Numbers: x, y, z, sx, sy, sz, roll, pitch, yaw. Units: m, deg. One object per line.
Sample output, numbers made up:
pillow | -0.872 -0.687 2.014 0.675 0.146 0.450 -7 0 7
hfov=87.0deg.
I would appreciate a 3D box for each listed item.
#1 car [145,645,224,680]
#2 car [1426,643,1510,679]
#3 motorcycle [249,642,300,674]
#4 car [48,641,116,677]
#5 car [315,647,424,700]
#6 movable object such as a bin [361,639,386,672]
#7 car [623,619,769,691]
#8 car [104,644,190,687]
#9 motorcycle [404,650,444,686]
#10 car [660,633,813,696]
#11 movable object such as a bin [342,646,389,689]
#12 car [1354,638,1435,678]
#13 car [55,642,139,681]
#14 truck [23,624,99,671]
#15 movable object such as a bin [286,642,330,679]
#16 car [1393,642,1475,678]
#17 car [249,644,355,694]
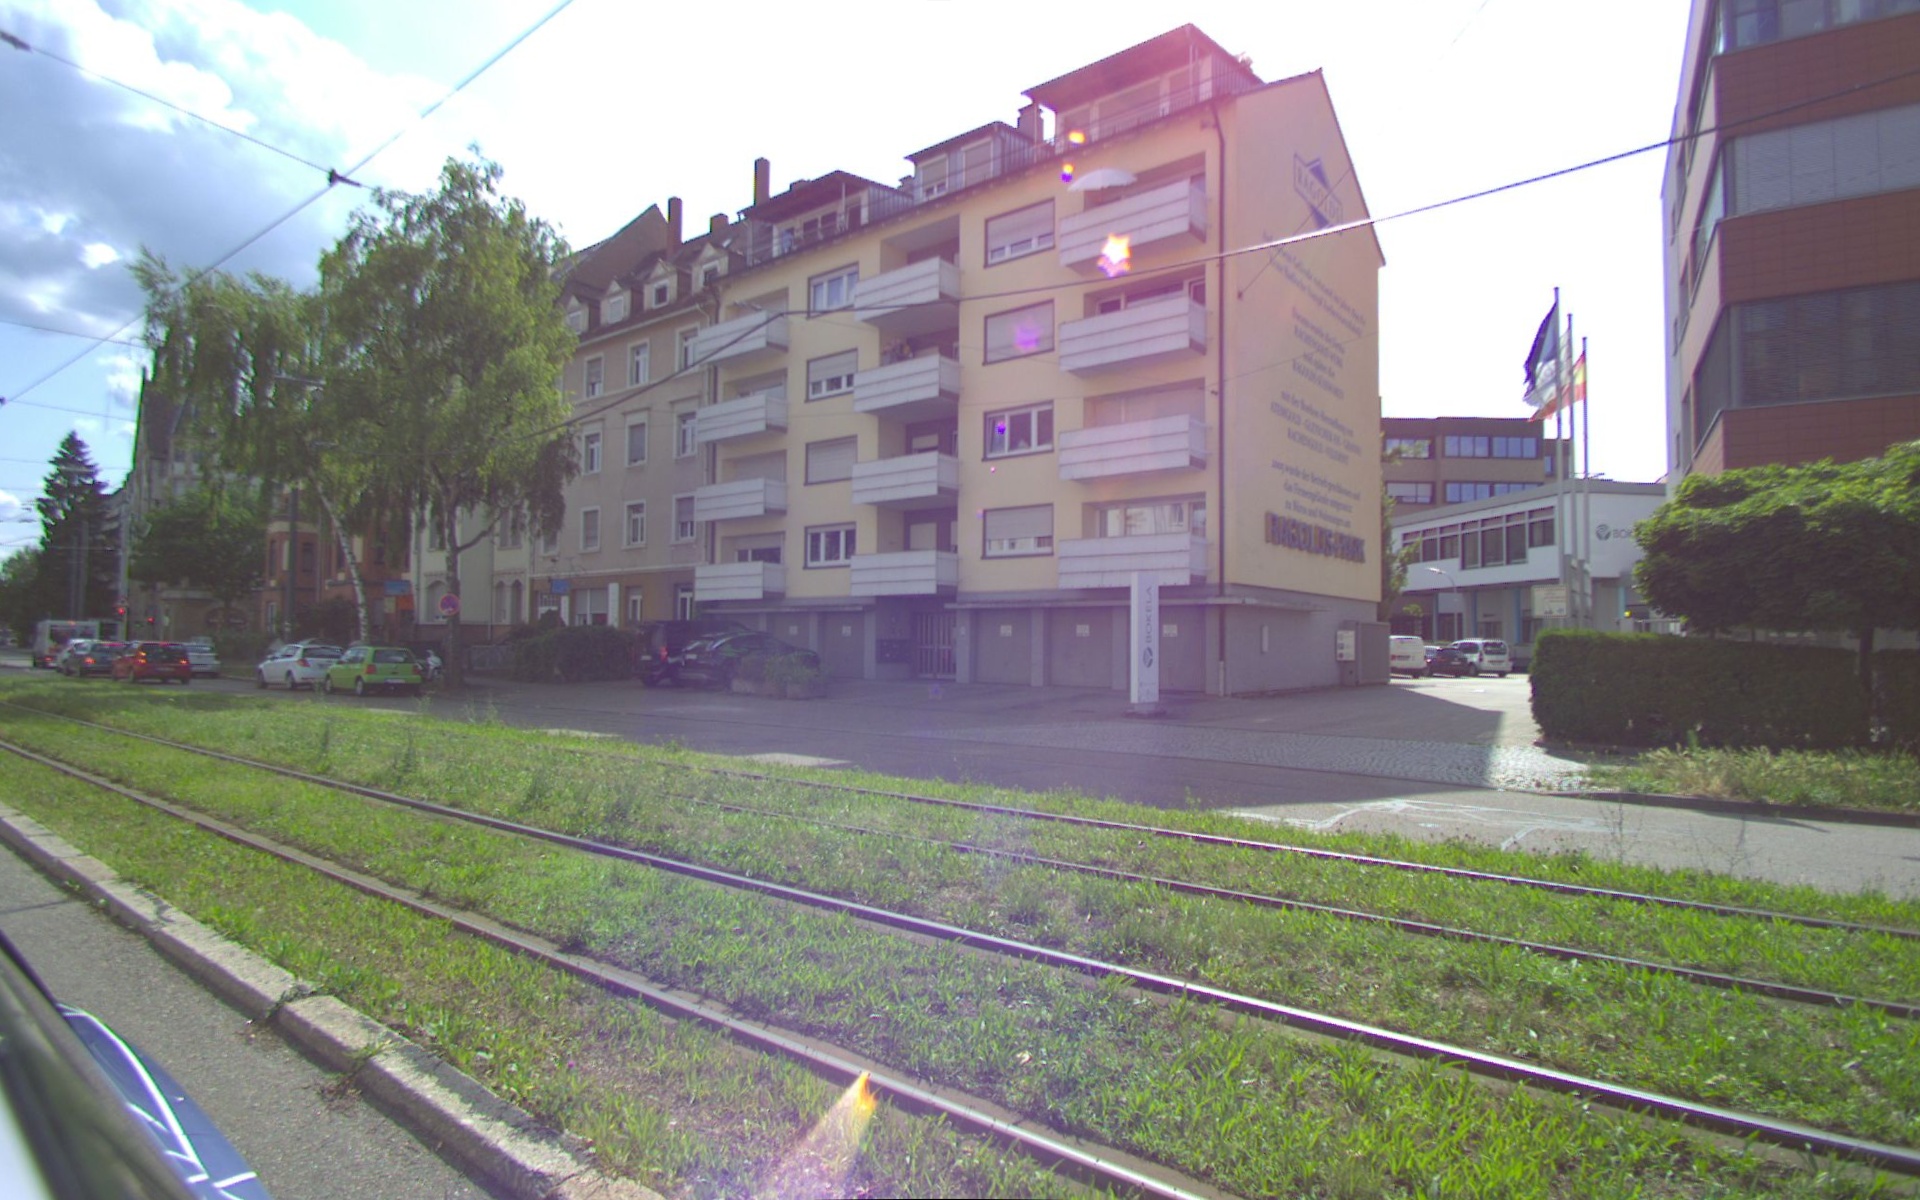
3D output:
car | -31.644 2.525 41.258 3.992 1.366 1.737 -2 -4 41
car | 25.514 3.042 50.980 1.743 1.708 4.007 1 -3 -8
motorcycle | -27.956 2.348 41.263 2.288 1.252 0.893 -2 -3 33
car | -37.885 2.535 43.628 4.134 1.425 1.735 -2 -5 43
car | -17.343 2.117 29.677 3.611 1.443 1.578 -2 -4 40
movable object such as a bin | -25.092 2.378 43.267 0.698 1.372 0.667 -2 -3 36
car | -8.113 1.647 31.287 1.936 2.029 3.944 -2 -2 42
car | -27.830 2.221 34.611 3.689 1.397 1.563 -2 -4 40
motorcycle | -17.184 2.166 32.427 1.630 1.050 0.494 0 1 39
car | -6.394 1.805 29.251 1.971 1.614 3.948 -2 -2 39
movable object such as a bin | -20.772 2.341 35.336 1.520 1.441 0.941 -2 -1 38
car | 20.991 2.792 49.088 1.743 1.827 4.007 1 -3 -8
car | -33.443 2.356 39.180 4.509 1.366 1.737 -1 -5 41
truck | -44.804 2.373 50.373 6.613 2.231 2.160 -2 -5 44
movable object such as a bin | -25.606 2.359 39.731 1.520 1.377 0.942 -2 1 38
car | 23.337 2.944 49.971 1.743 1.708 4.007 1 -3 -8
car | -21.303 2.211 32.718 4.221 1.489 1.628 -2 -5 40
